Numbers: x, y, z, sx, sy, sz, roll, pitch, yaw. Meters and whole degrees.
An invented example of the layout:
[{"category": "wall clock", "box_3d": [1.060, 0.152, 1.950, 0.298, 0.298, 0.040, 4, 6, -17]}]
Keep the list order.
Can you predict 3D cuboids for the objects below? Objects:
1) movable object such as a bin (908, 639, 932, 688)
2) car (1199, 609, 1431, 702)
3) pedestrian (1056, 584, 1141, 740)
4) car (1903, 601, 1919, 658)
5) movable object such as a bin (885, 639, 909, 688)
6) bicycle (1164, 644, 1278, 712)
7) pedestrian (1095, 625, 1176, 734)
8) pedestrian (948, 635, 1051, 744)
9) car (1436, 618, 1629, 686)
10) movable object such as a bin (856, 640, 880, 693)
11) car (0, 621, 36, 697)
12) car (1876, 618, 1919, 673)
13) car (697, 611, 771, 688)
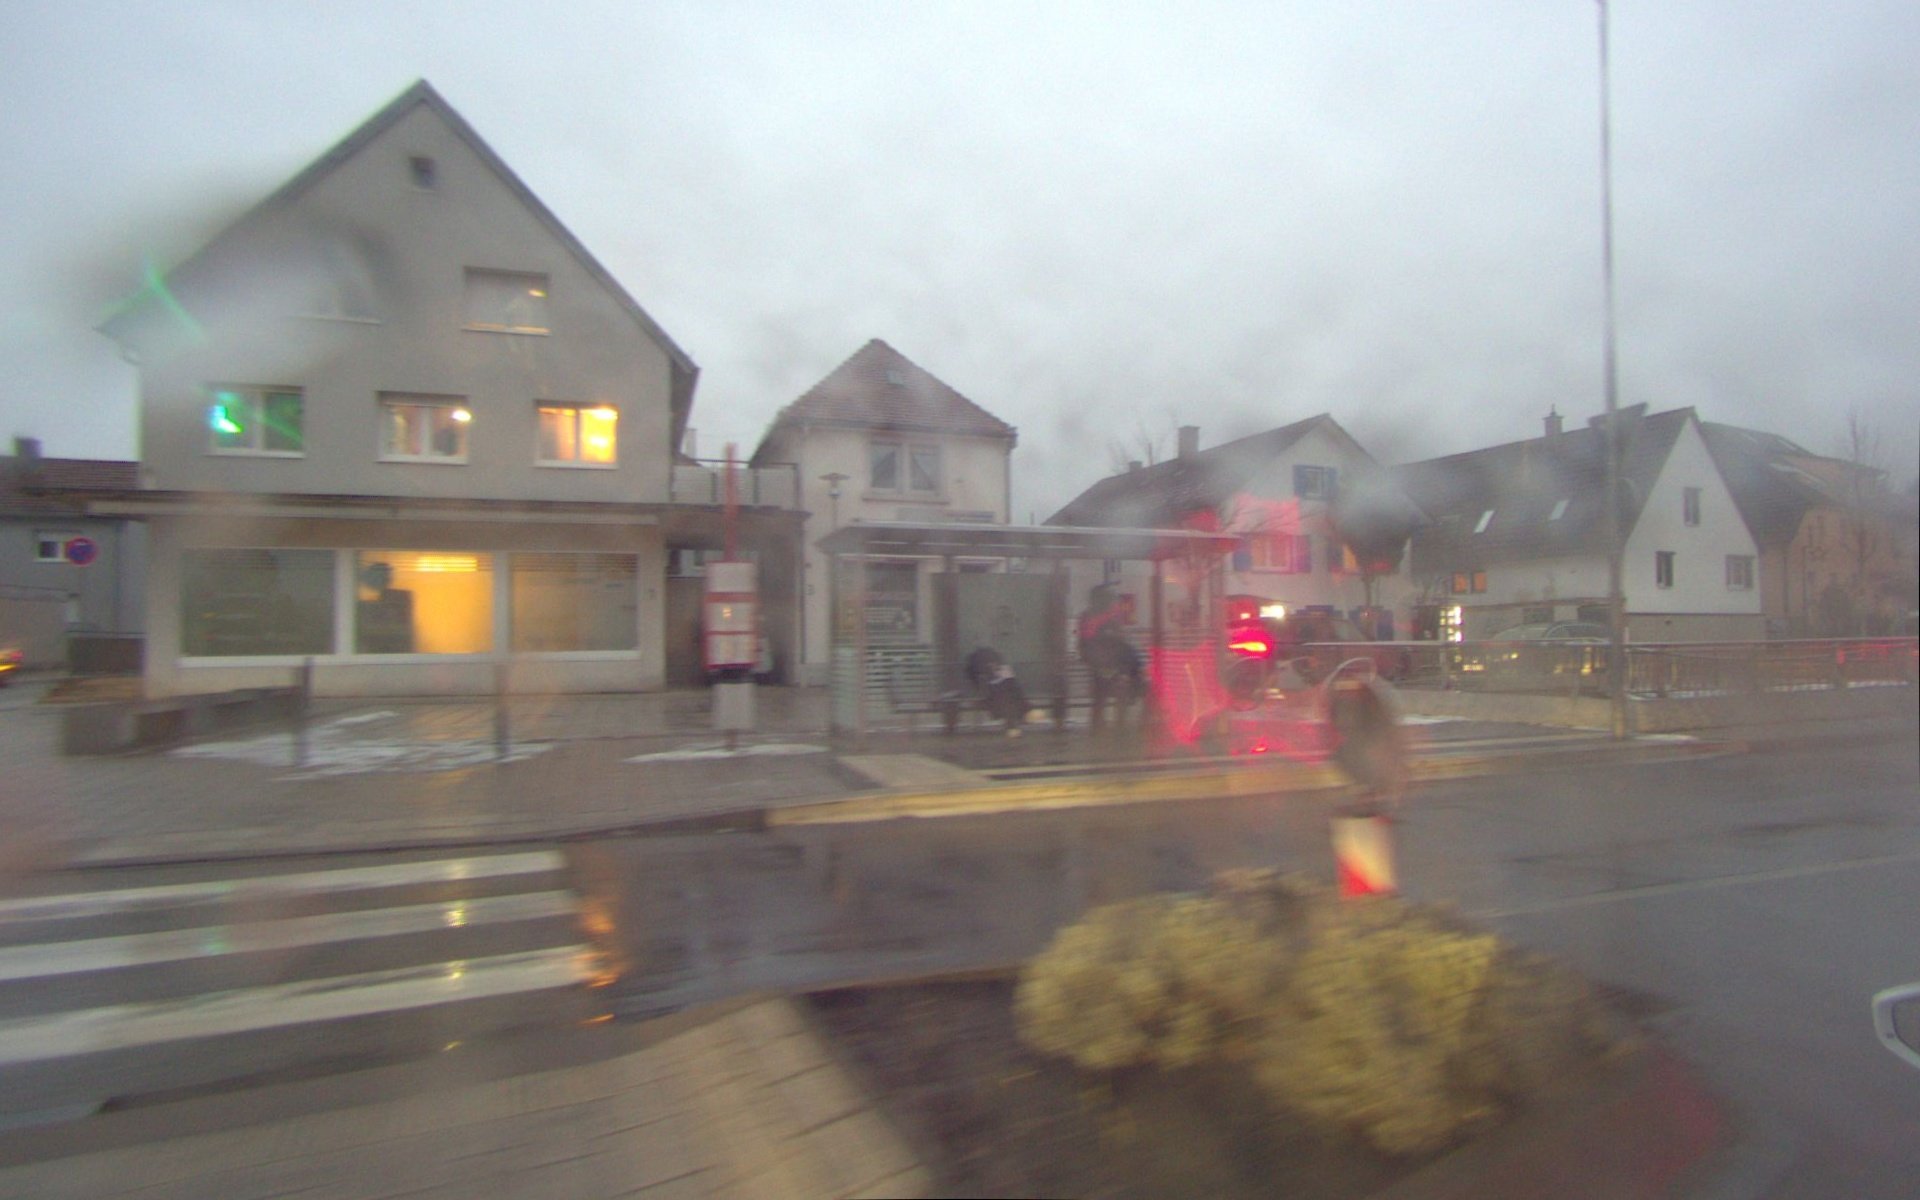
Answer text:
[{"category": "movable object such as a bin", "box_3d": [-0.952, 1.501, 23.816, 0.447, 1.157, 0.286, 2, -1, -24]}, {"category": "car", "box_3d": [7.380, 1.140, 20.877, 4.499, 1.722, 1.752, -1, -4, -23]}, {"category": "pedestrian", "box_3d": [1.627, 0.699, 11.825, 0.679, 1.765, 0.745, -1, 0, -28]}, {"category": "car", "box_3d": [27.613, 0.790, 26.385, 1.689, 1.543, 3.787, 1, -1, -22]}, {"category": "movable object such as a bin", "box_3d": [-1.477, 1.496, 23.611, 0.447, 1.135, 0.286, 2, -1, -24]}, {"category": "bicycle", "box_3d": [4.121, 1.212, 15.866, 1.708, 1.023, 0.470, 0, -2, -12]}, {"category": "pedestrian", "box_3d": [2.184, 0.964, 12.507, 0.740, 1.288, 0.683, 0, 0, -24]}, {"category": "pedestrian", "box_3d": [0.448, 1.022, 11.848, 0.888, 1.174, 0.987, -2, 0, -19]}, {"category": "car", "box_3d": [13.707, 1.236, 24.020, 4.512, 1.502, 1.797, 1, -4, -27]}, {"category": "movable object such as a bin", "box_3d": [-2.137, 1.543, 23.317, 0.447, 1.225, 0.286, 2, -1, -24]}, {"category": "car", "box_3d": [-27.085, 1.575, 26.416, 1.965, 2.040, 4.455, 2, -1, -11]}, {"category": "car", "box_3d": [25.328, 1.123, 24.993, 1.581, 1.390, 3.430, 0, -2, -29]}, {"category": "car", "box_3d": [-5.964, 1.271, 26.321, 1.490, 1.877, 3.413, 1, -2, -20]}]
